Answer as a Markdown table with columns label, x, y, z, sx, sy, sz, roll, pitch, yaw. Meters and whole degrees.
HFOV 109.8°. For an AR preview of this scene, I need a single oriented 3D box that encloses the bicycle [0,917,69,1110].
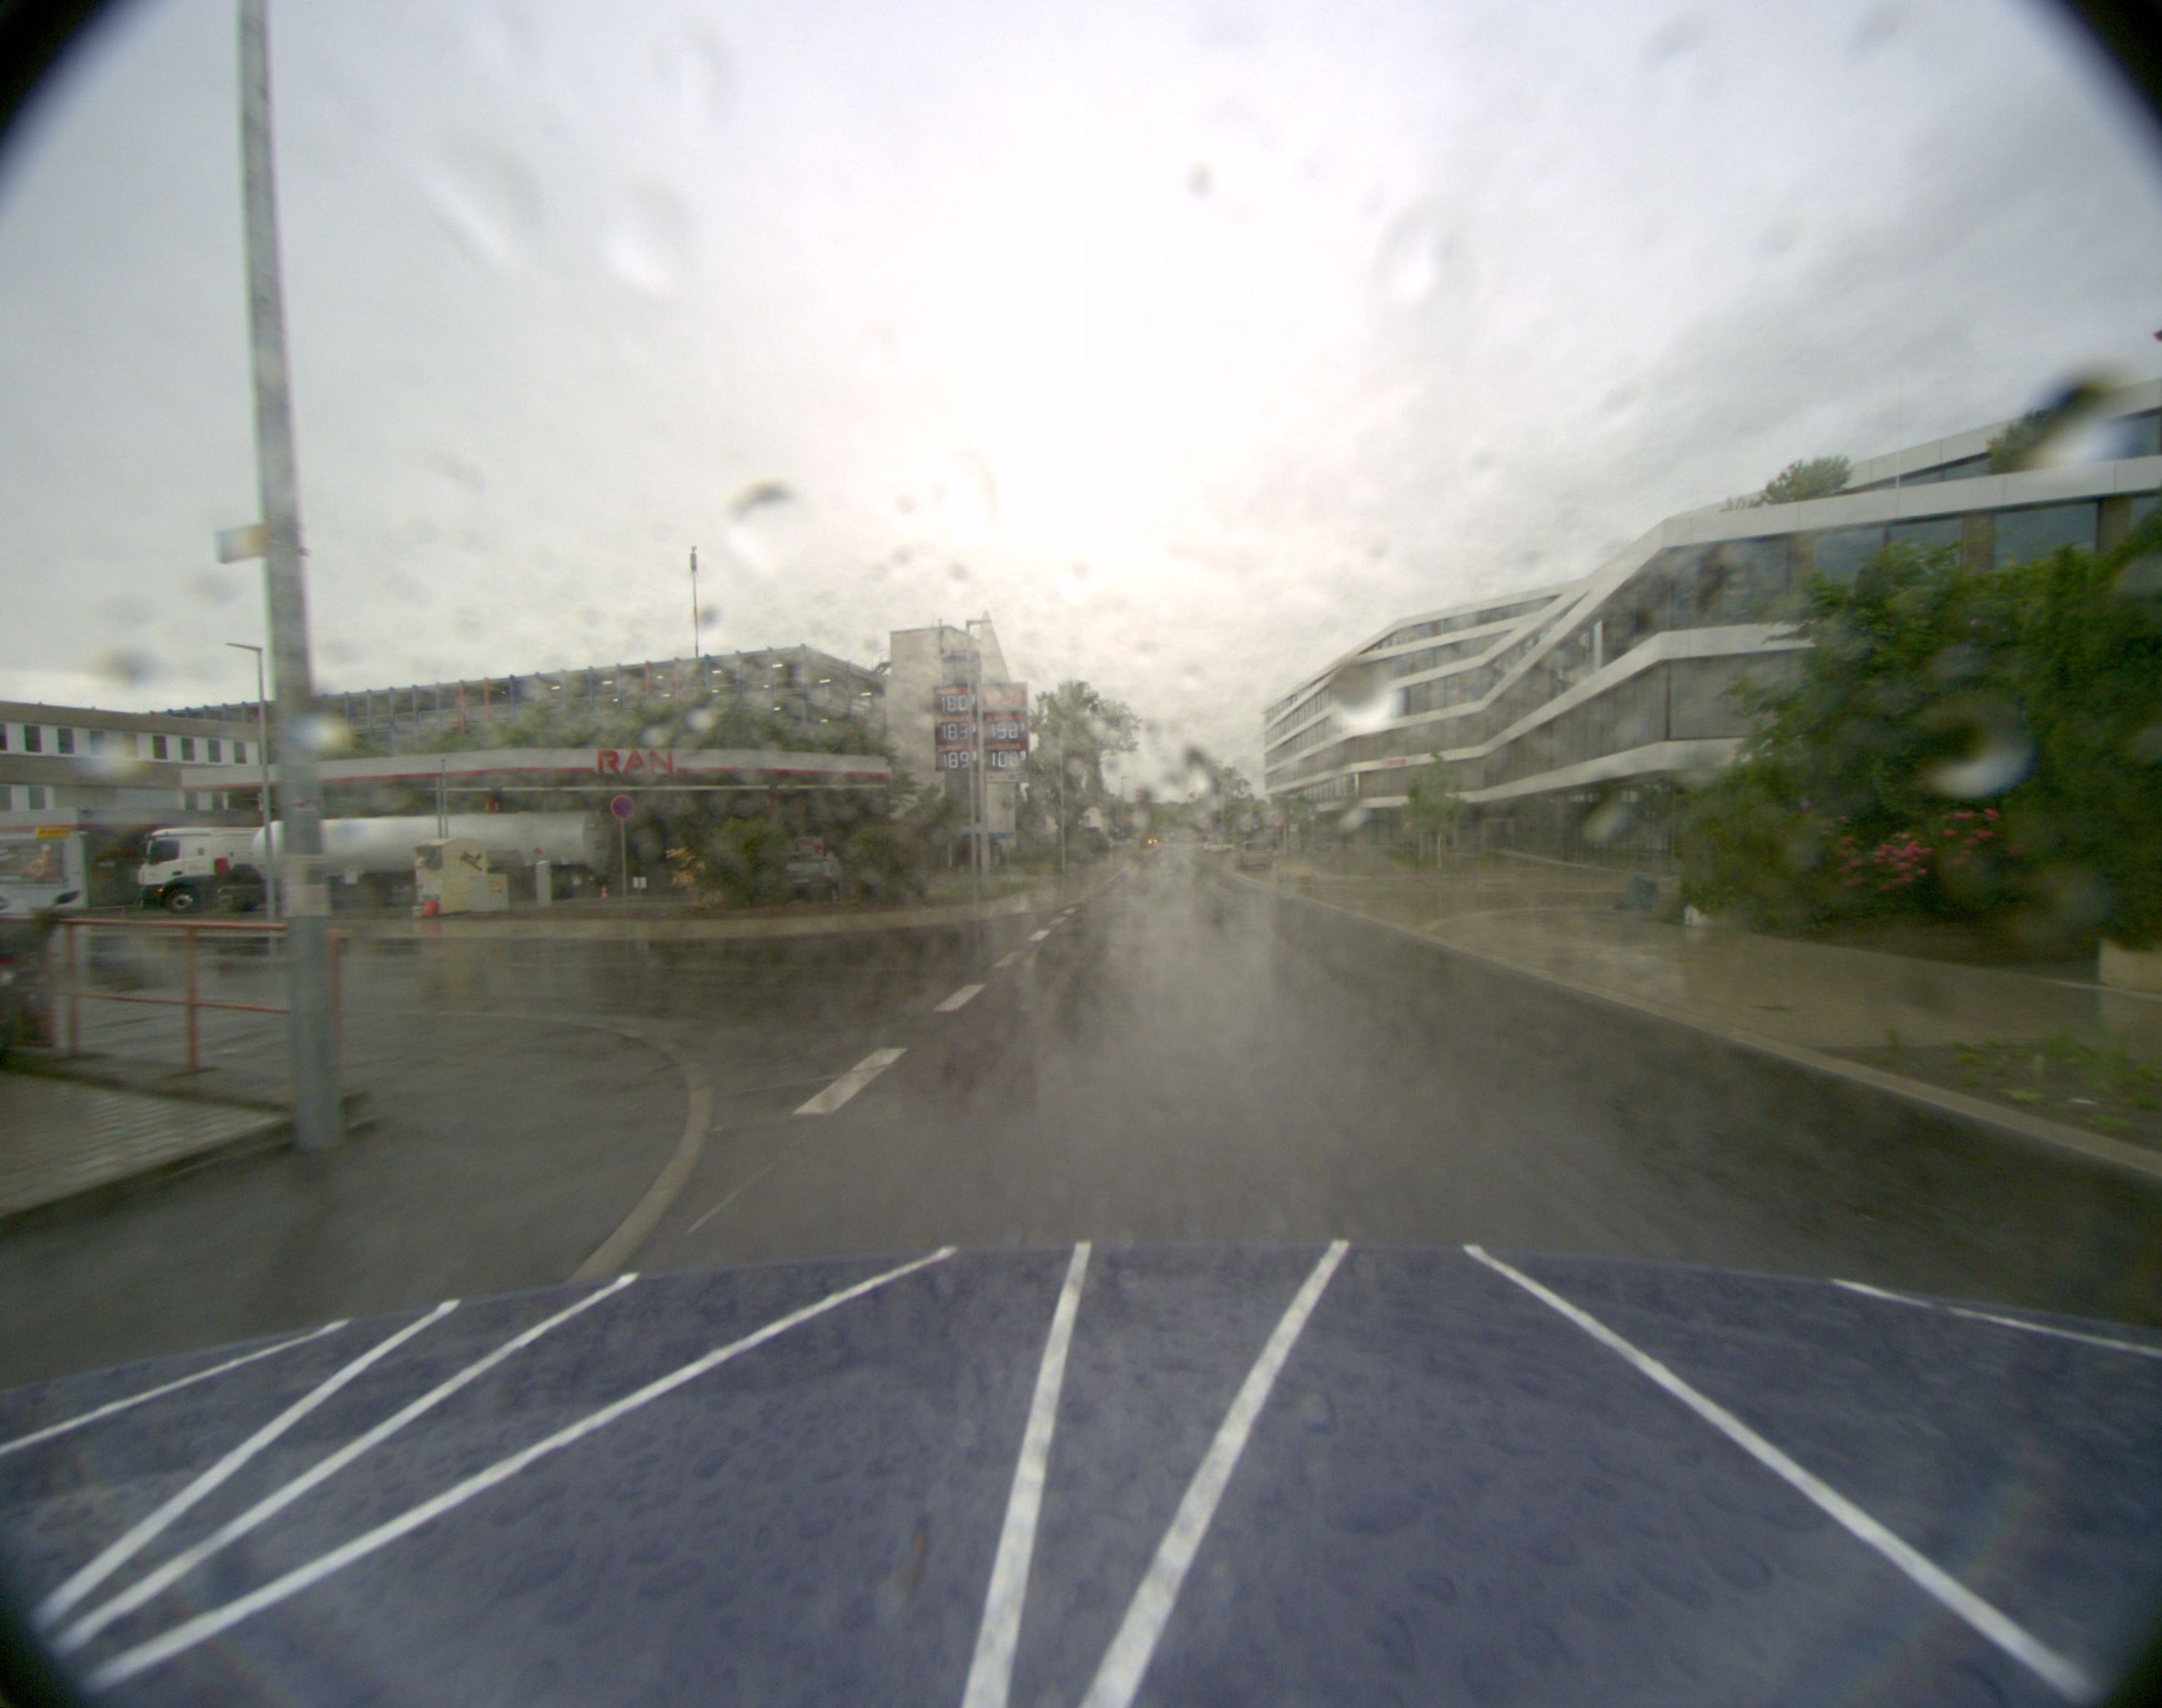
| label | x | y | z | sx | sy | sz | roll | pitch | yaw |
| --- | --- | --- | --- | --- | --- | --- | --- | --- | --- |
| bicycle | -7.087 | 0.953 | 4.672 | 1.772 | 1.089 | 0.490 | -1 | 1 | 19 |

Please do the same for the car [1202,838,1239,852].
| label | x | y | z | sx | sy | sz | roll | pitch | yaw |
| --- | --- | --- | --- | --- | --- | --- | --- | --- | --- |
| car | 16.409 | -1.098 | 89.414 | 4.164 | 1.411 | 2.001 | -3 | 1 | 10 |

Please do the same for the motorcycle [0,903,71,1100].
| label | x | y | z | sx | sy | sz | roll | pitch | yaw |
| --- | --- | --- | --- | --- | --- | --- | --- | --- | --- |
| motorcycle | -9.047 | 1.137 | 6.059 | 2.035 | 1.448 | 0.490 | -1 | 2 | 18 |

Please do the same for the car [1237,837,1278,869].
| label | x | y | z | sx | sy | sz | roll | pitch | yaw |
| --- | --- | --- | --- | --- | --- | --- | --- | --- | --- |
| car | 10.206 | -0.105 | 44.258 | 1.840 | 1.696 | 4.325 | -1 | 1 | 7 |

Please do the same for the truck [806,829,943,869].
| label | x | y | z | sx | sy | sz | roll | pitch | yaw |
| --- | --- | --- | --- | --- | --- | --- | --- | --- | --- |
| truck | -11.765 | -0.271 | 43.714 | 7.294 | 2.193 | 2.086 | 0 | -1 | 0 |

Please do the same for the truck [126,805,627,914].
| label | x | y | z | sx | sy | sz | roll | pitch | yaw |
| --- | --- | --- | --- | --- | --- | --- | --- | --- | --- |
| truck | -25.357 | 0.135 | 28.274 | 14.415 | 3.339 | 2.645 | -2 | -1 | -10 |

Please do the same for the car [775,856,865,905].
| label | x | y | z | sx | sy | sz | roll | pitch | yaw |
| --- | --- | --- | --- | --- | --- | --- | --- | --- | --- |
| car | -8.405 | 0.807 | 24.894 | 1.694 | 1.332 | 4.337 | -1 | 1 | -4 |
